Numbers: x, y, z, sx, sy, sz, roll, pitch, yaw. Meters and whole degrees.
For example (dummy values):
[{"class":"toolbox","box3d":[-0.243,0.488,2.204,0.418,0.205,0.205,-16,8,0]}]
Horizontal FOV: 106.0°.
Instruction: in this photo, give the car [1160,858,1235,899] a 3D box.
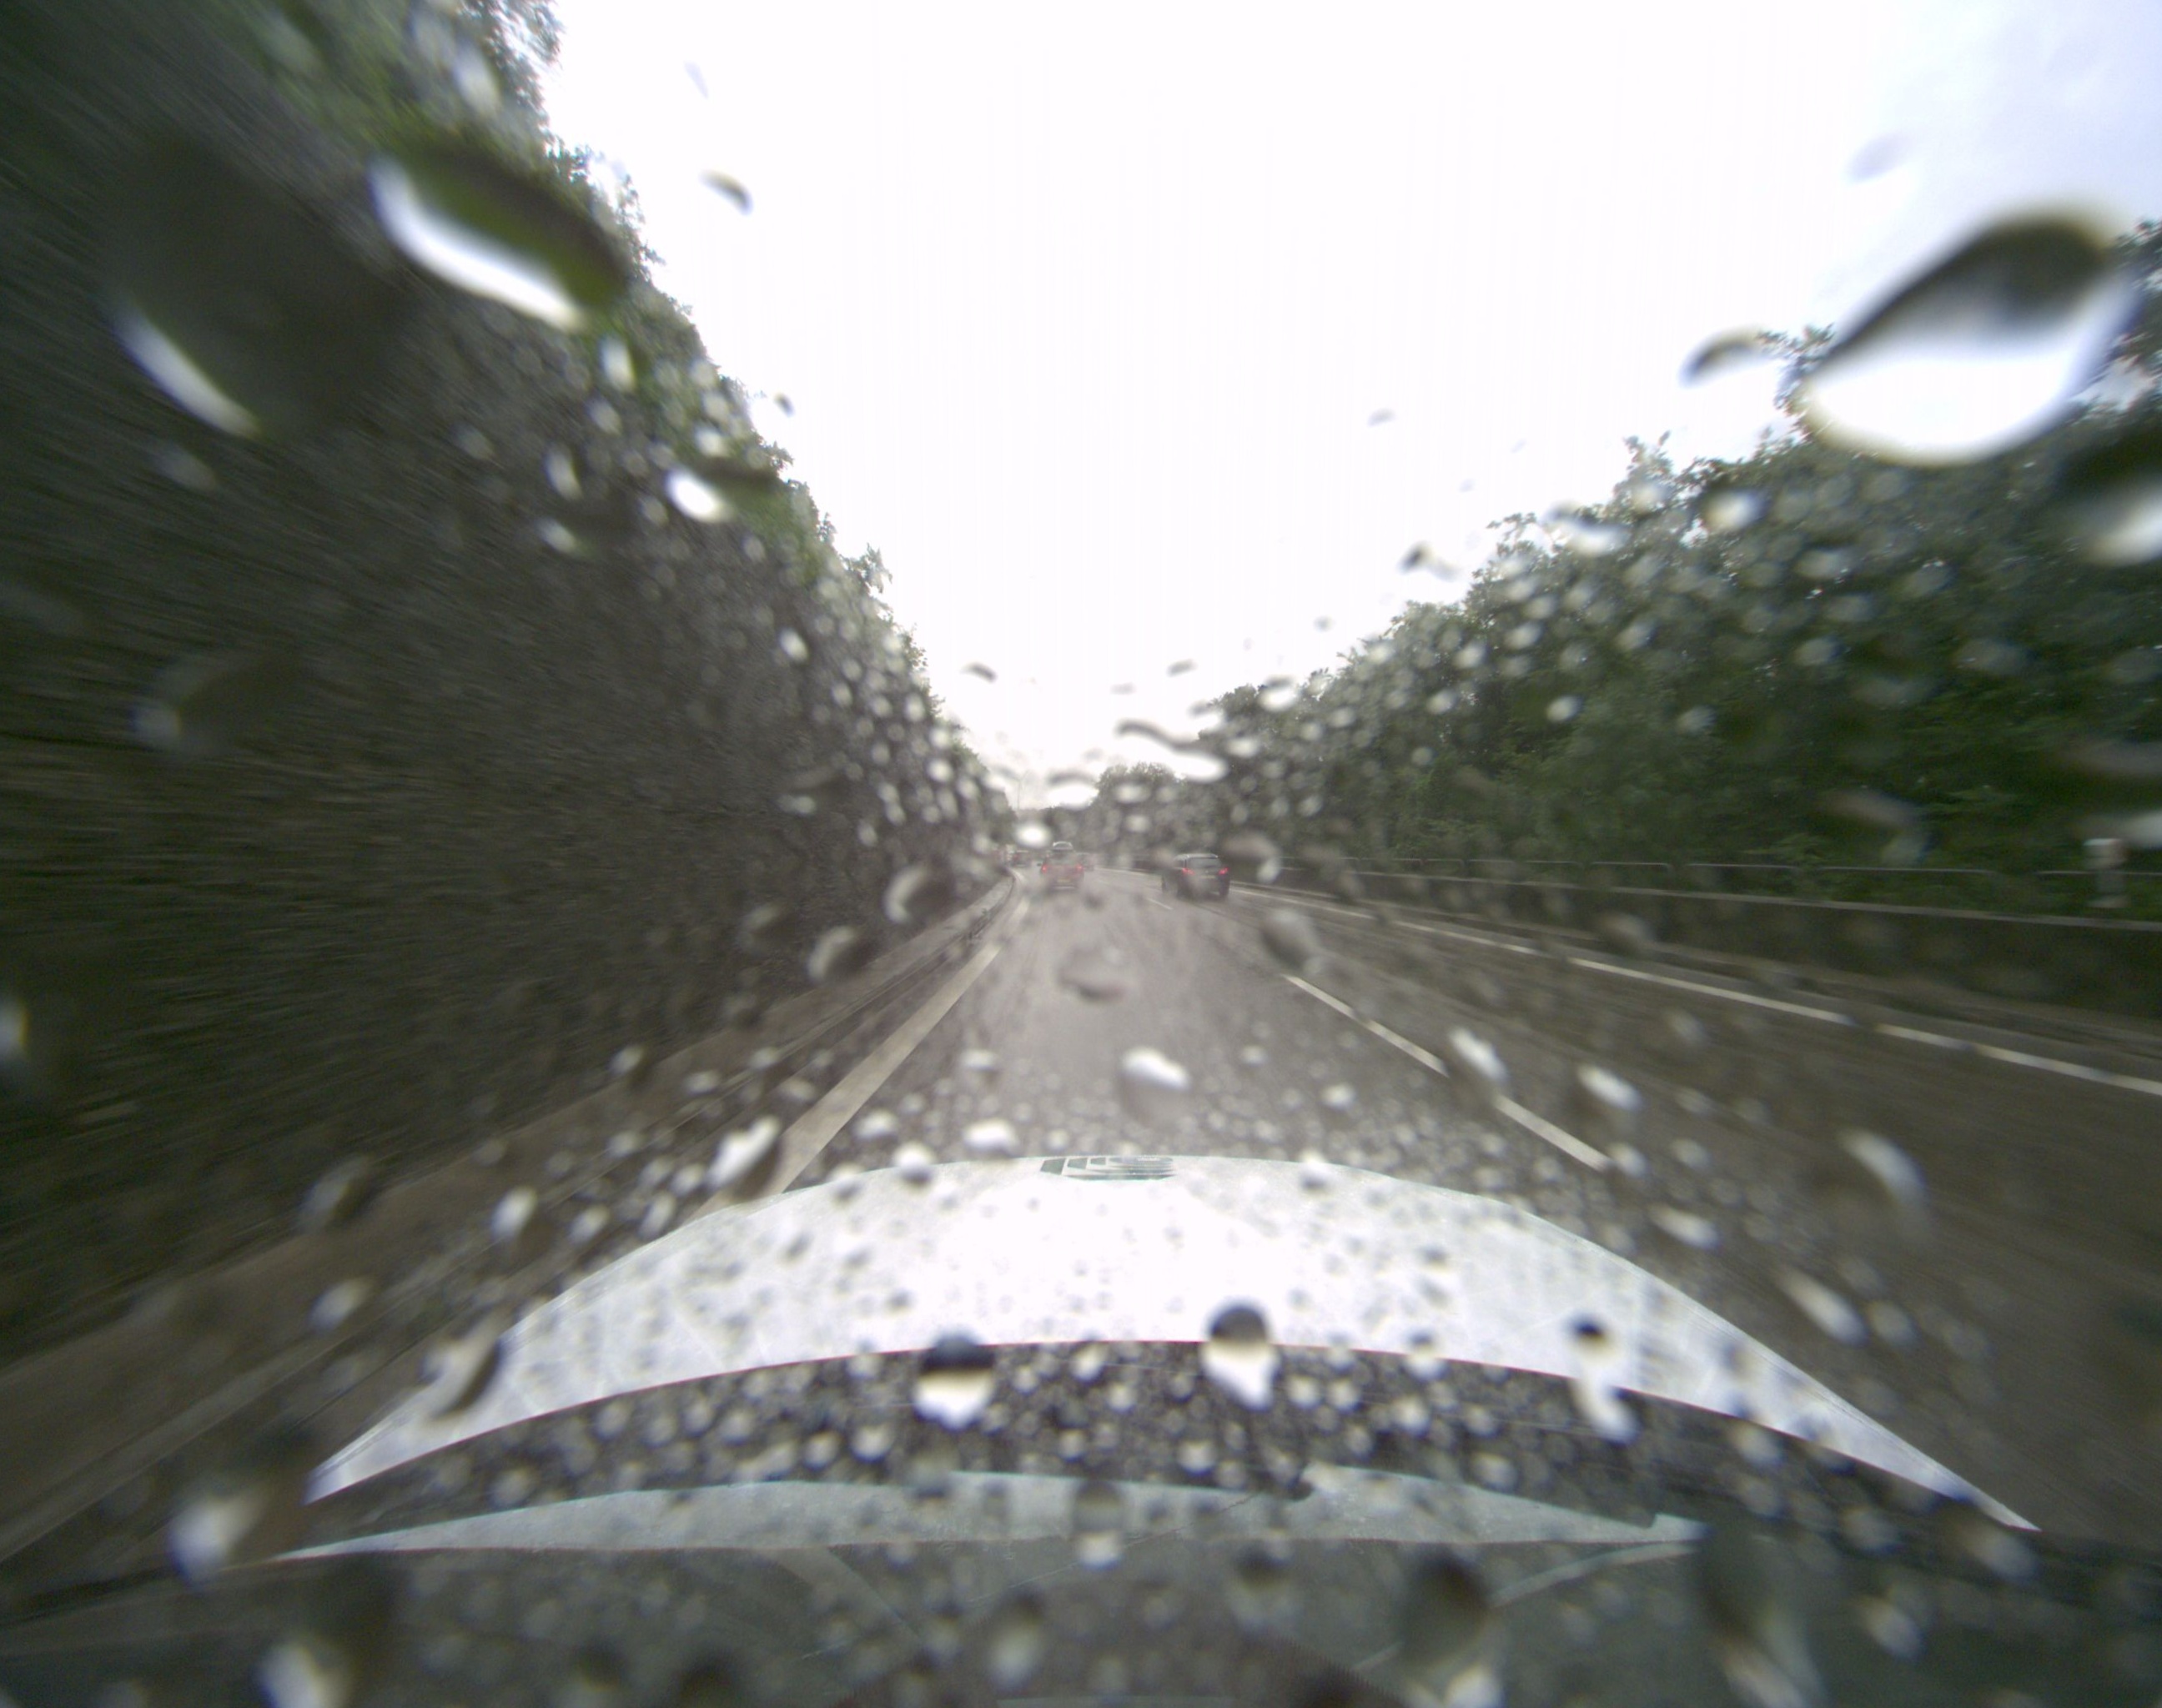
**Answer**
[{"class":"car","box3d":[3.970,0.815,28.357,1.797,1.308,3.994,-1,-1,-4]}]

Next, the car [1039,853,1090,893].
[{"class":"car","box3d":[-0.741,0.763,34.383,1.989,1.552,3.996,-1,-1,-2]}]

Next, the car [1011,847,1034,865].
[{"class":"car","box3d":[-5.883,0.241,81.380,1.992,1.684,3.988,0,-1,-8]}]

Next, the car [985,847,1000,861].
[{"class":"car","box3d":[-13.028,0.008,119.817,1.994,2.014,3.985,0,-1,-10]}]

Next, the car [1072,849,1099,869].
[{"class":"car","box3d":[0.374,0.399,69.007,1.990,1.552,3.994,-1,0,-4]}]
